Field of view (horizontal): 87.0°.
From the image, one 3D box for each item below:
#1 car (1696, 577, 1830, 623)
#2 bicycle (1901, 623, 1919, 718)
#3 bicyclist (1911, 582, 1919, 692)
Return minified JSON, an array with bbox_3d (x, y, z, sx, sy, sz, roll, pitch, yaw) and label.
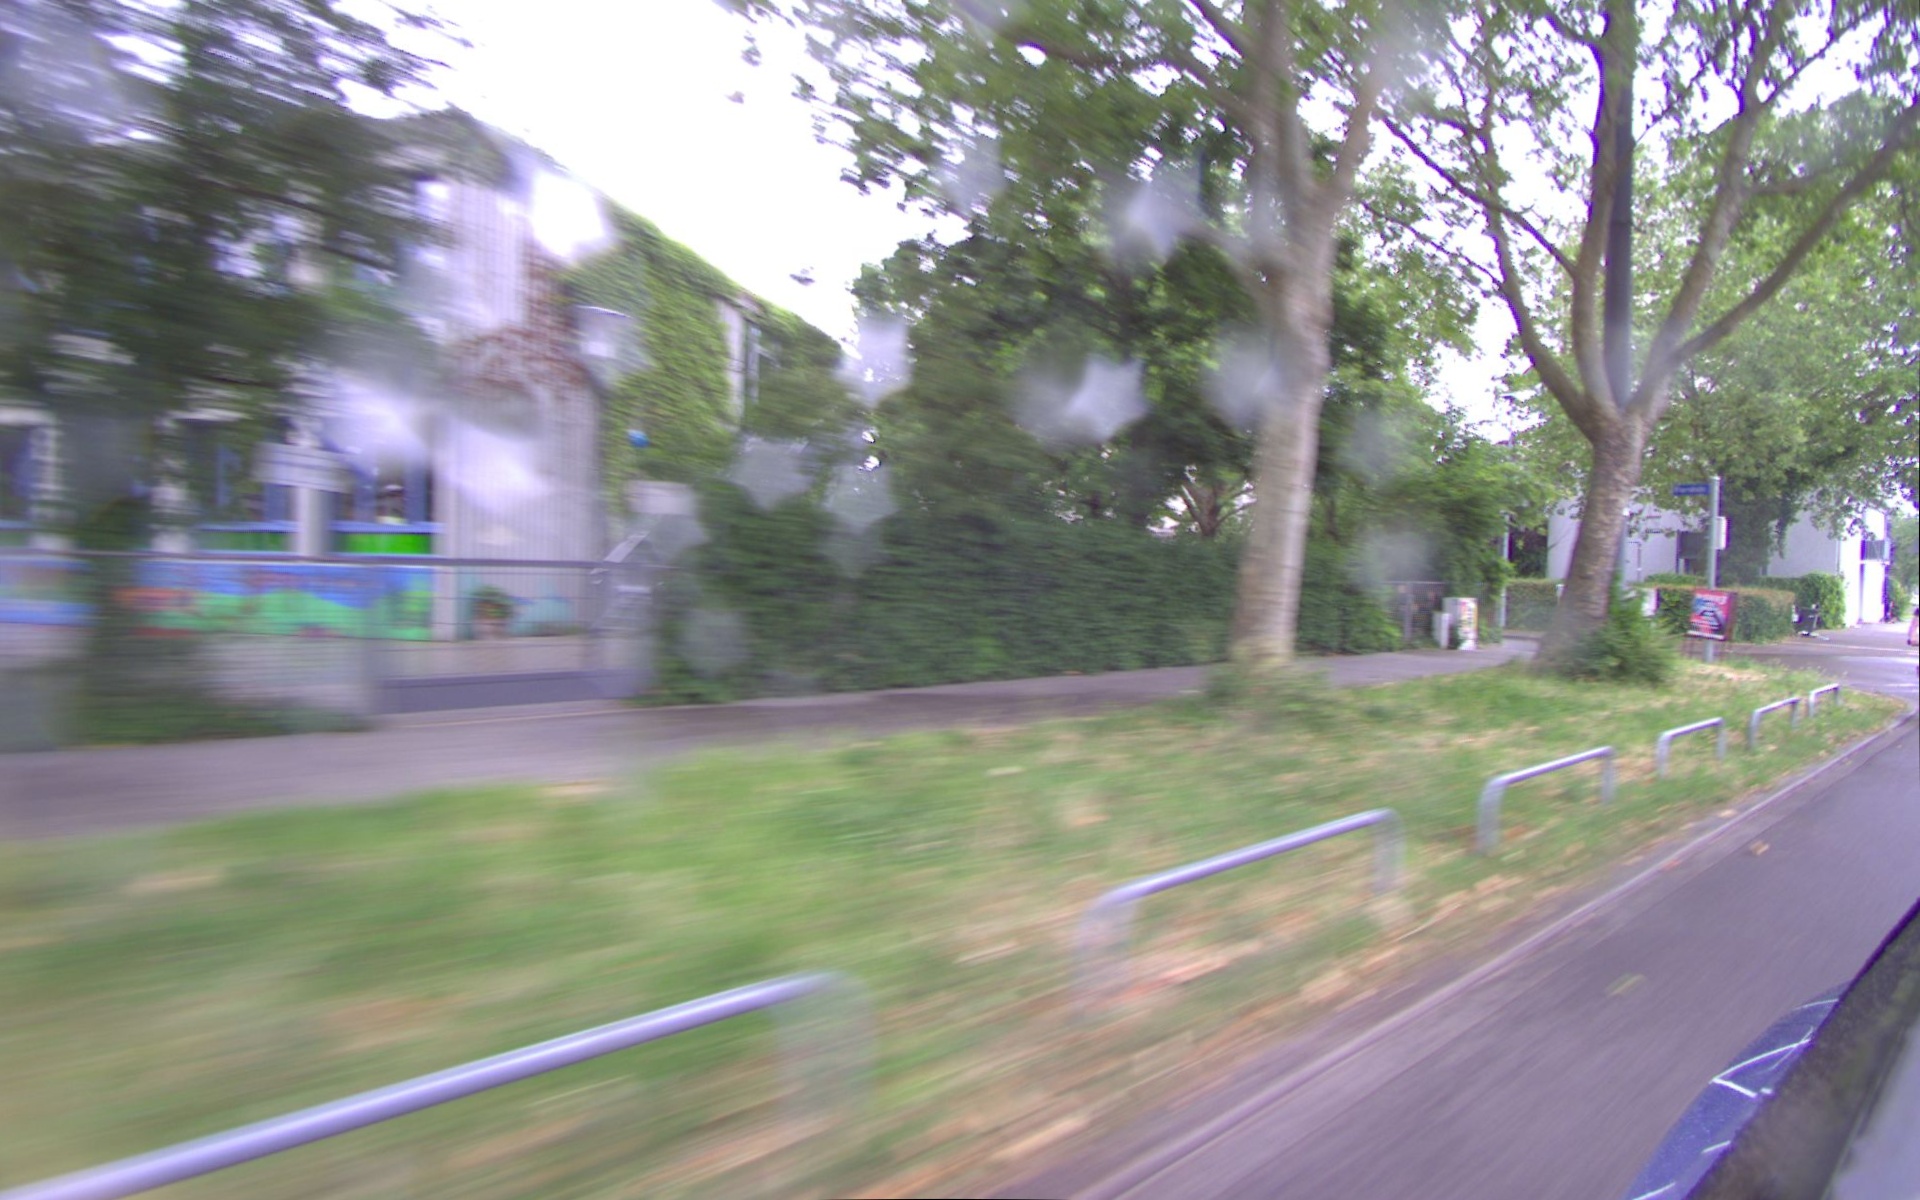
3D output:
[{"bbox_3d":[29.944,-0.036,37.829,1.646,1.424,3.581,1,4,-38],"label":"car"},{"bbox_3d":[13.062,0.903,13.359,2.402,1.157,0.674,0,-1,-41],"label":"bicycle"},{"bbox_3d":[13.038,0.486,13.339,0.741,1.447,0.674,0,0,-41],"label":"bicyclist"}]
